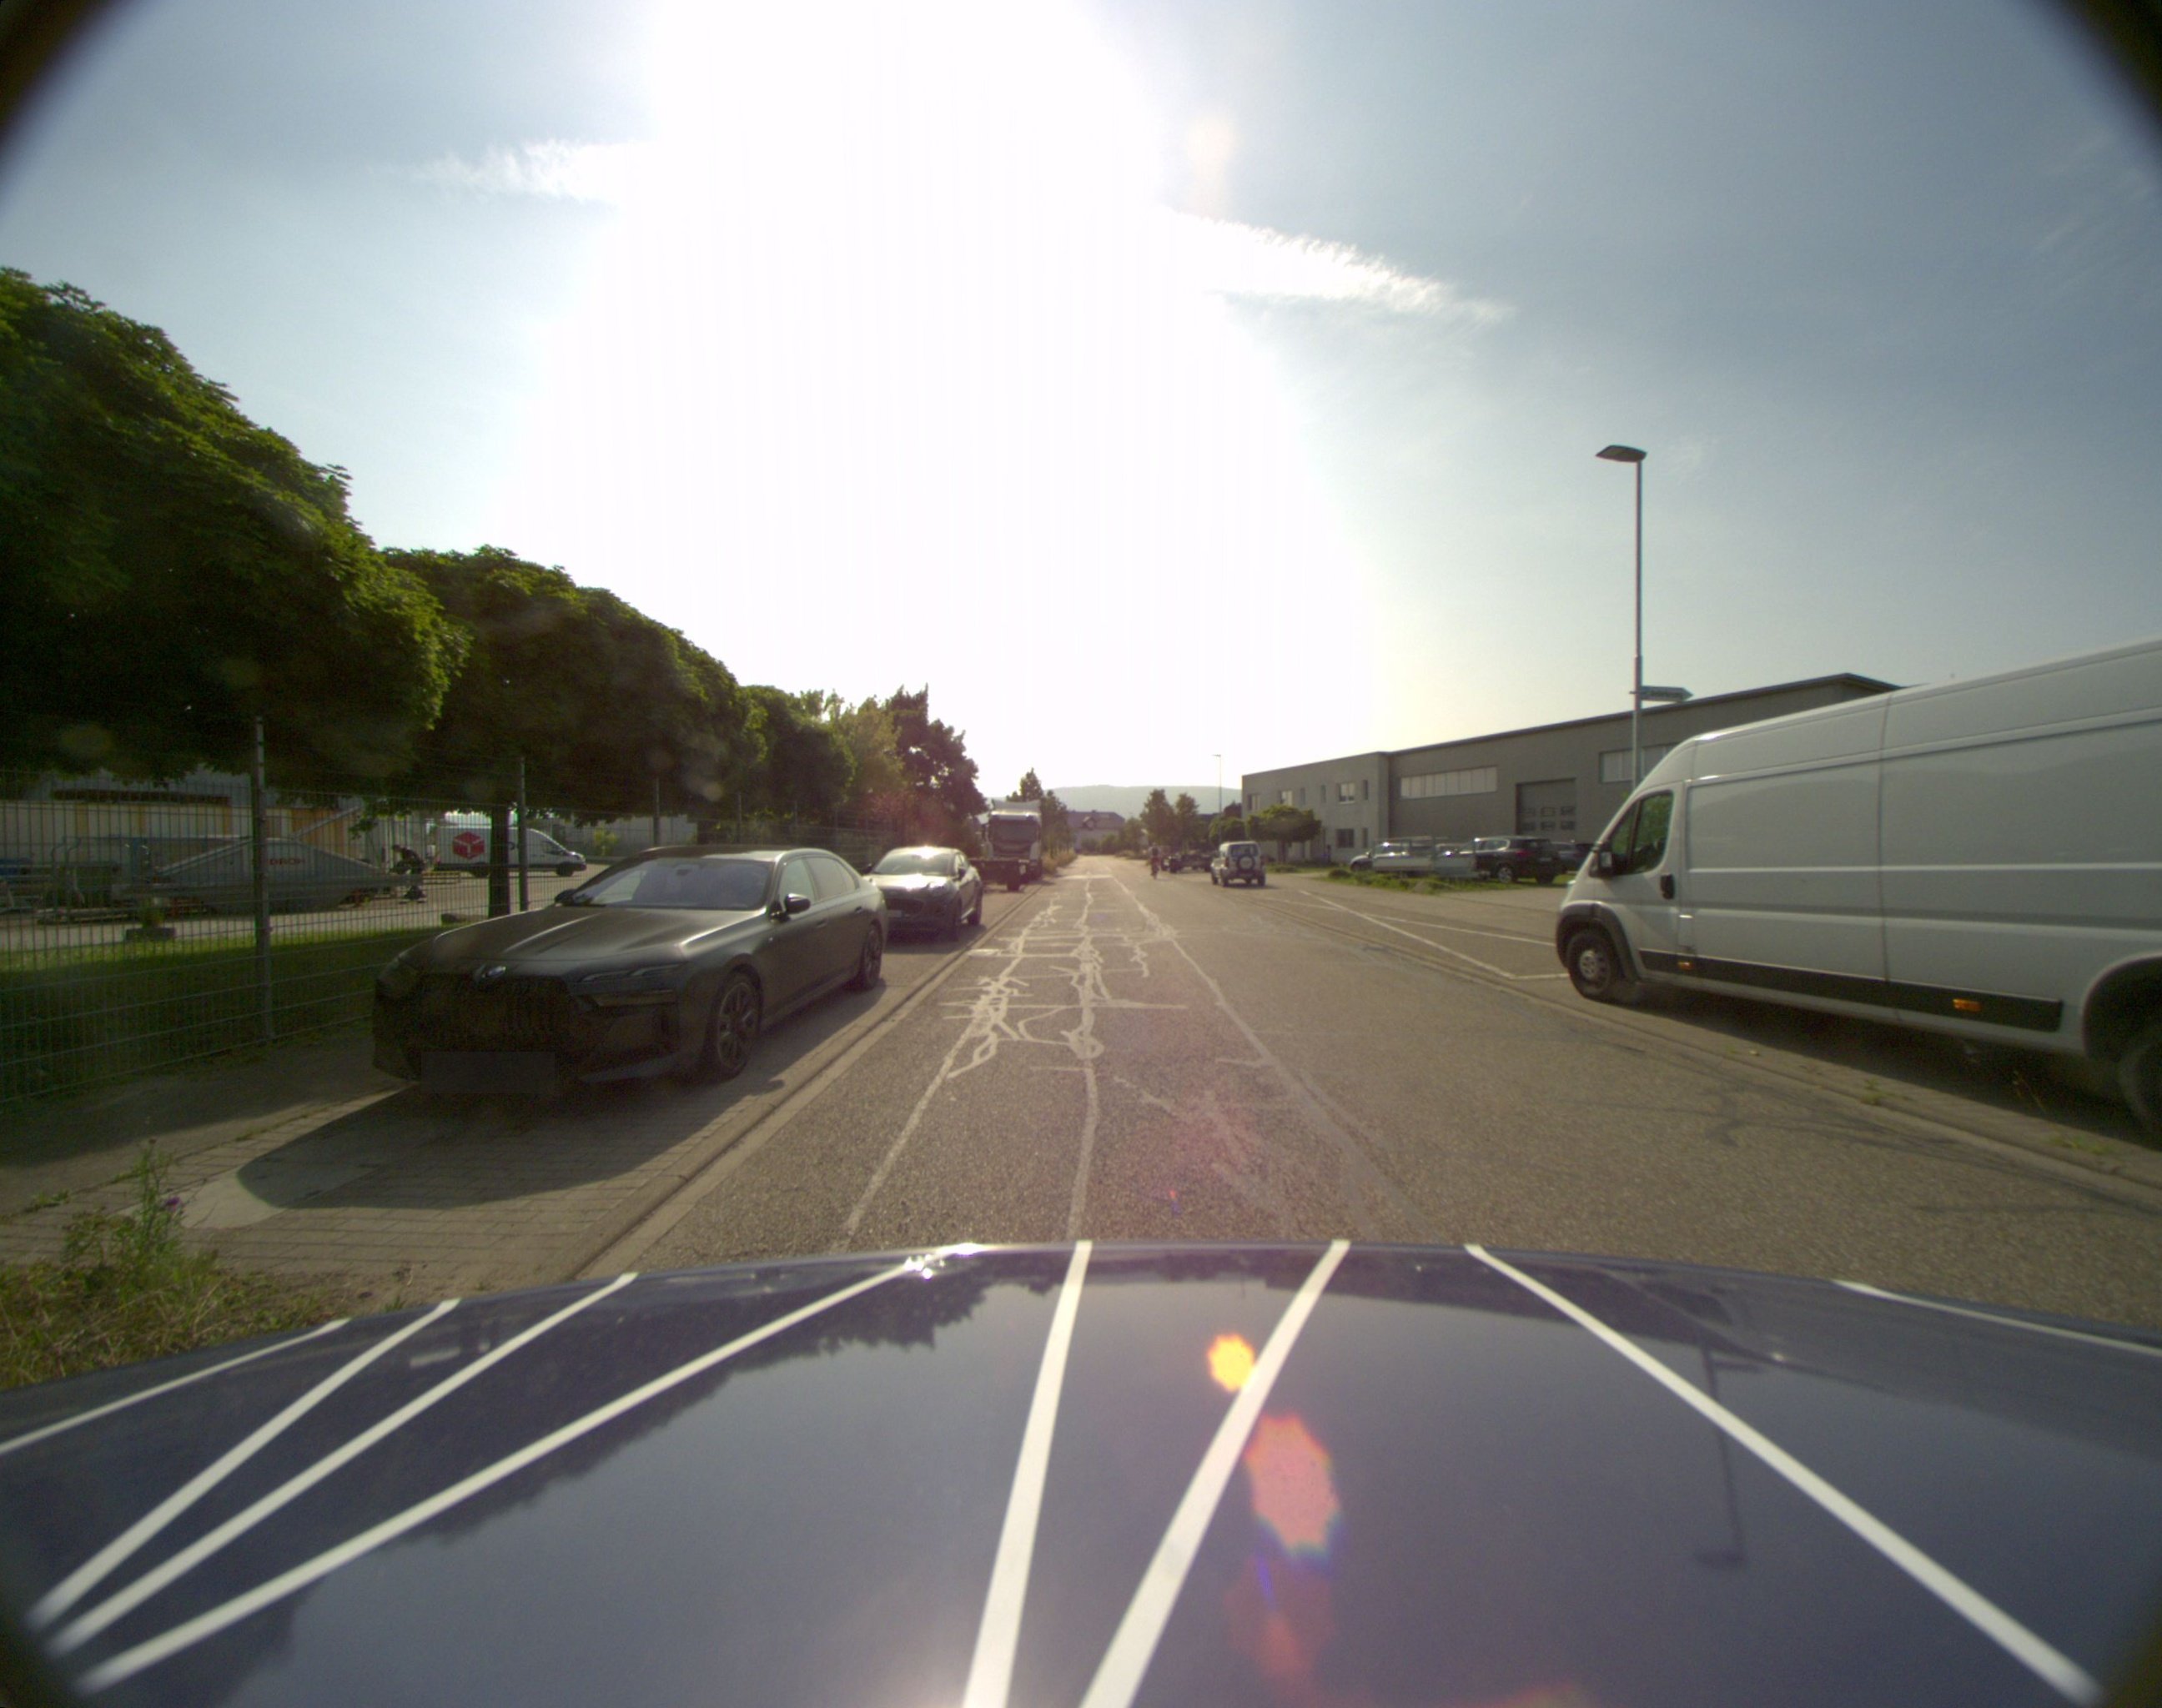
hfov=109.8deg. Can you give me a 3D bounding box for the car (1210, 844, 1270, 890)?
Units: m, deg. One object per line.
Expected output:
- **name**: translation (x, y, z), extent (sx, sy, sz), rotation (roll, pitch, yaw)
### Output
- **car**: translation (6.120, 0.453, 29.590), extent (1.601, 1.641, 3.644), rotation (-1, 1, 1)

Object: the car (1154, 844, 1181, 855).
- **car**: translation (13.585, -0.743, 119.160), extent (3.996, 1.718, 2.000), rotation (0, 1, 1)

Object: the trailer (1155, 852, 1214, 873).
- **trailer**: translation (6.489, 0.495, 48.907), extent (2.552, 1.068, 9.730), rotation (-2, 0, 1)

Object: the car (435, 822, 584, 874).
- **car**: translation (-30.908, -0.339, 41.231), extent (6.286, 2.633, 2.206), rotation (-1, 1, -40)

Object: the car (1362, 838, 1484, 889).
- **car**: translation (11.791, 0.288, 26.461), extent (1.840, 1.563, 3.810), rotation (-2, 1, -16)

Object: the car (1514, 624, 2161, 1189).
- **car**: translation (5.914, 0.190, 5.058), extent (2.108, 2.580, 6.501), rotation (-2, 1, -2)

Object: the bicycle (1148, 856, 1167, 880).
- **bicycle**: translation (3.780, 0.686, 37.845), extent (0.717, 1.116, 2.219), rotation (2, 1, 1)

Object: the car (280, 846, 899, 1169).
- **car**: translation (-3.170, 0.776, 6.500), extent (1.885, 1.565, 5.117), rotation (1, 1, 1)

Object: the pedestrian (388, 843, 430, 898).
- **pedestrian**: translation (-21.161, 0.496, 23.942), extent (0.860, 1.712, 0.630), rotation (-1, 1, -31)

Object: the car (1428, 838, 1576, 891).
- **car**: translation (14.536, 0.310, 26.558), extent (1.997, 1.649, 4.415), rotation (-1, 1, -17)

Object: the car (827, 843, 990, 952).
- **car**: translation (-2.900, 0.638, 13.712), extent (1.885, 1.565, 4.112), rotation (3, 1, 1)

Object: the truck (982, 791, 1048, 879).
- **truck**: translation (-3.168, -0.900, 37.900), extent (2.699, 3.941, 6.046), rotation (2, 1, -1)

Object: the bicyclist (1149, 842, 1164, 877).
- **bicyclist**: translation (3.774, 0.277, 37.908), extent (0.641, 1.709, 1.165), rotation (0, 1, 1)

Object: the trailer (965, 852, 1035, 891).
- **trailer**: translation (-3.023, 0.599, 29.806), extent (1.943, 1.228, 7.449), rotation (2, 1, 0)

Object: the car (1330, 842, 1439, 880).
- **car**: translation (12.795, 0.251, 32.337), extent (1.983, 1.468, 4.415), rotation (-1, 1, -17)
